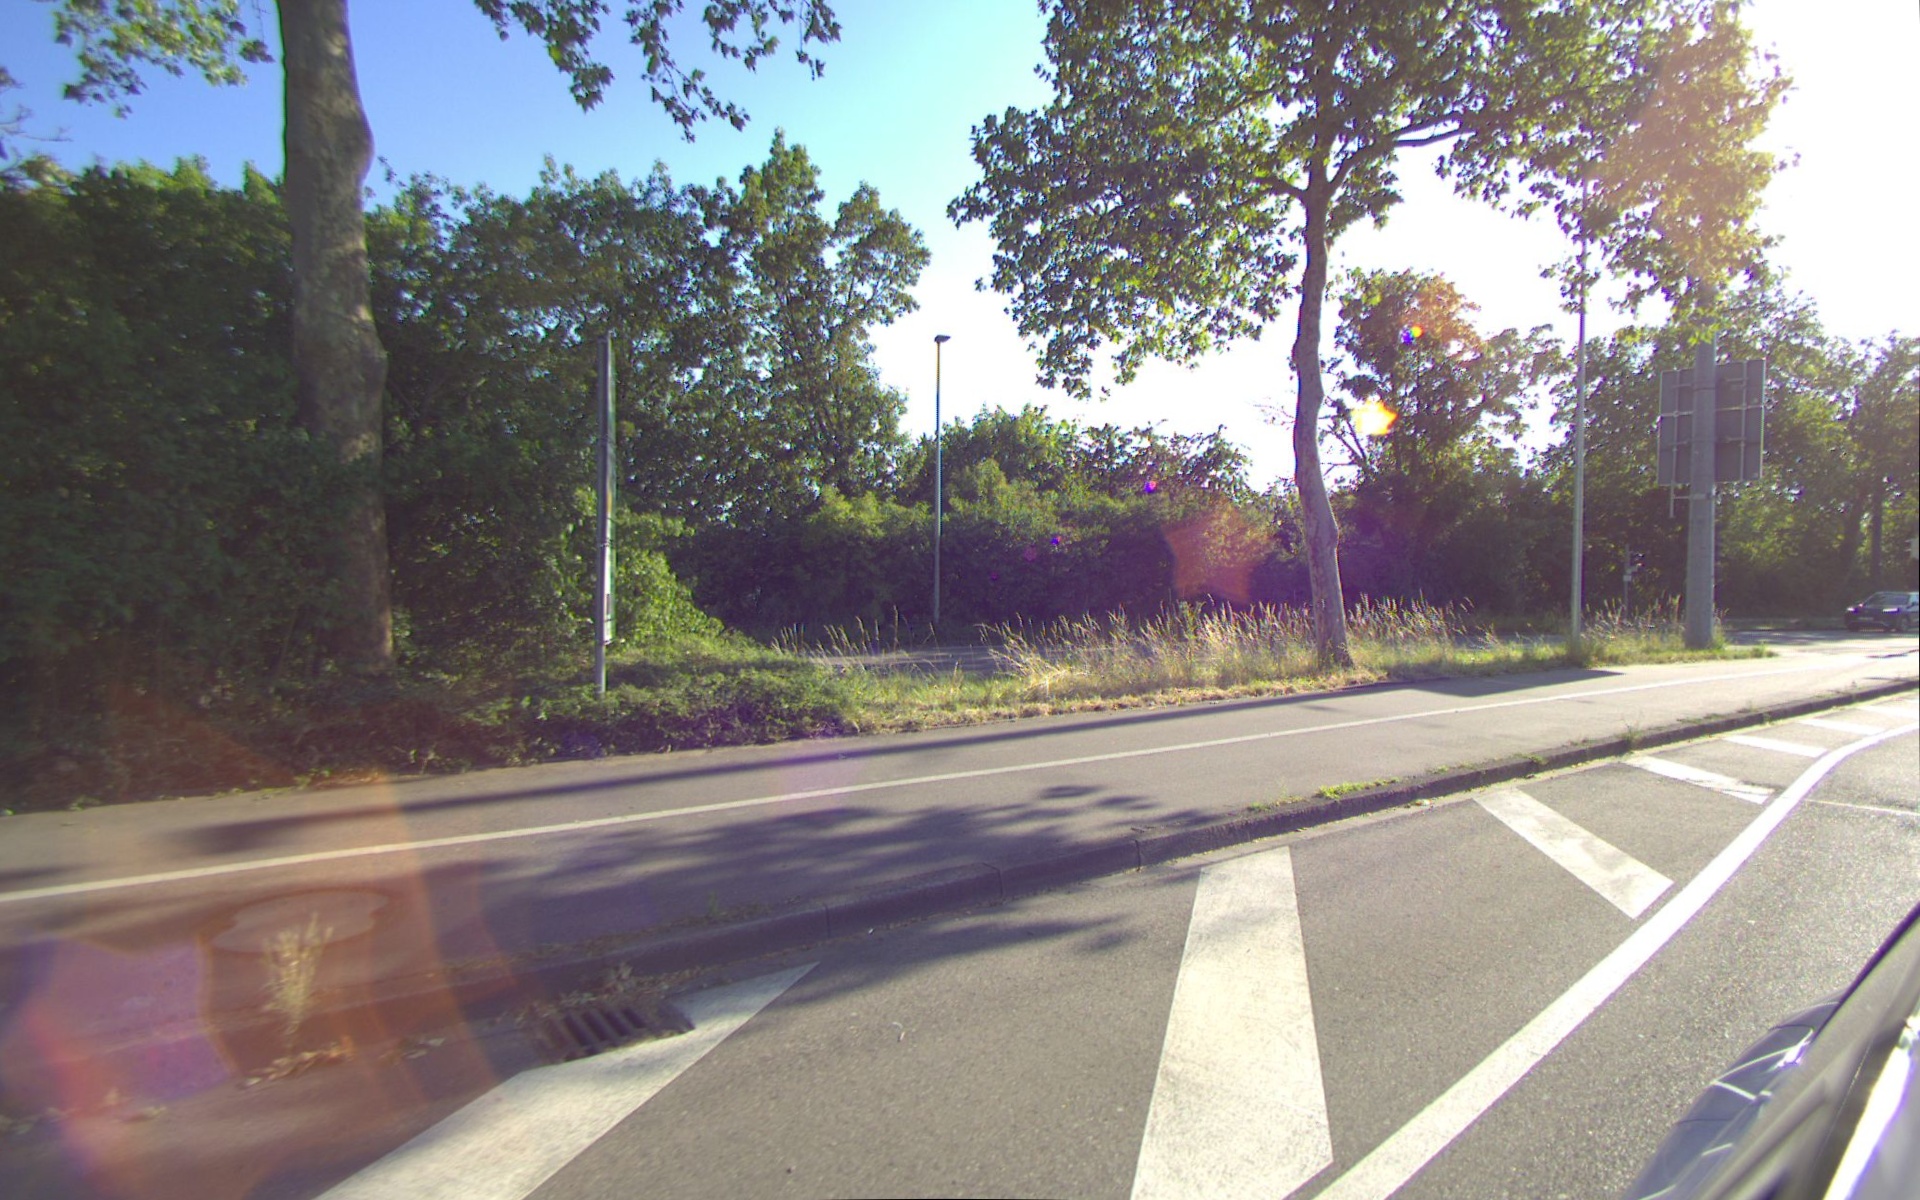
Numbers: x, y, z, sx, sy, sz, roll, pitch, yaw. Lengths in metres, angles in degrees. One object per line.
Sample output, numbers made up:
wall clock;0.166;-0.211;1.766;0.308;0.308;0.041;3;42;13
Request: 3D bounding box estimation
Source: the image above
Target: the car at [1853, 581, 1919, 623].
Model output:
car;38.492;0.055;41.037;3.916;1.638;1.829;0;1;-22
